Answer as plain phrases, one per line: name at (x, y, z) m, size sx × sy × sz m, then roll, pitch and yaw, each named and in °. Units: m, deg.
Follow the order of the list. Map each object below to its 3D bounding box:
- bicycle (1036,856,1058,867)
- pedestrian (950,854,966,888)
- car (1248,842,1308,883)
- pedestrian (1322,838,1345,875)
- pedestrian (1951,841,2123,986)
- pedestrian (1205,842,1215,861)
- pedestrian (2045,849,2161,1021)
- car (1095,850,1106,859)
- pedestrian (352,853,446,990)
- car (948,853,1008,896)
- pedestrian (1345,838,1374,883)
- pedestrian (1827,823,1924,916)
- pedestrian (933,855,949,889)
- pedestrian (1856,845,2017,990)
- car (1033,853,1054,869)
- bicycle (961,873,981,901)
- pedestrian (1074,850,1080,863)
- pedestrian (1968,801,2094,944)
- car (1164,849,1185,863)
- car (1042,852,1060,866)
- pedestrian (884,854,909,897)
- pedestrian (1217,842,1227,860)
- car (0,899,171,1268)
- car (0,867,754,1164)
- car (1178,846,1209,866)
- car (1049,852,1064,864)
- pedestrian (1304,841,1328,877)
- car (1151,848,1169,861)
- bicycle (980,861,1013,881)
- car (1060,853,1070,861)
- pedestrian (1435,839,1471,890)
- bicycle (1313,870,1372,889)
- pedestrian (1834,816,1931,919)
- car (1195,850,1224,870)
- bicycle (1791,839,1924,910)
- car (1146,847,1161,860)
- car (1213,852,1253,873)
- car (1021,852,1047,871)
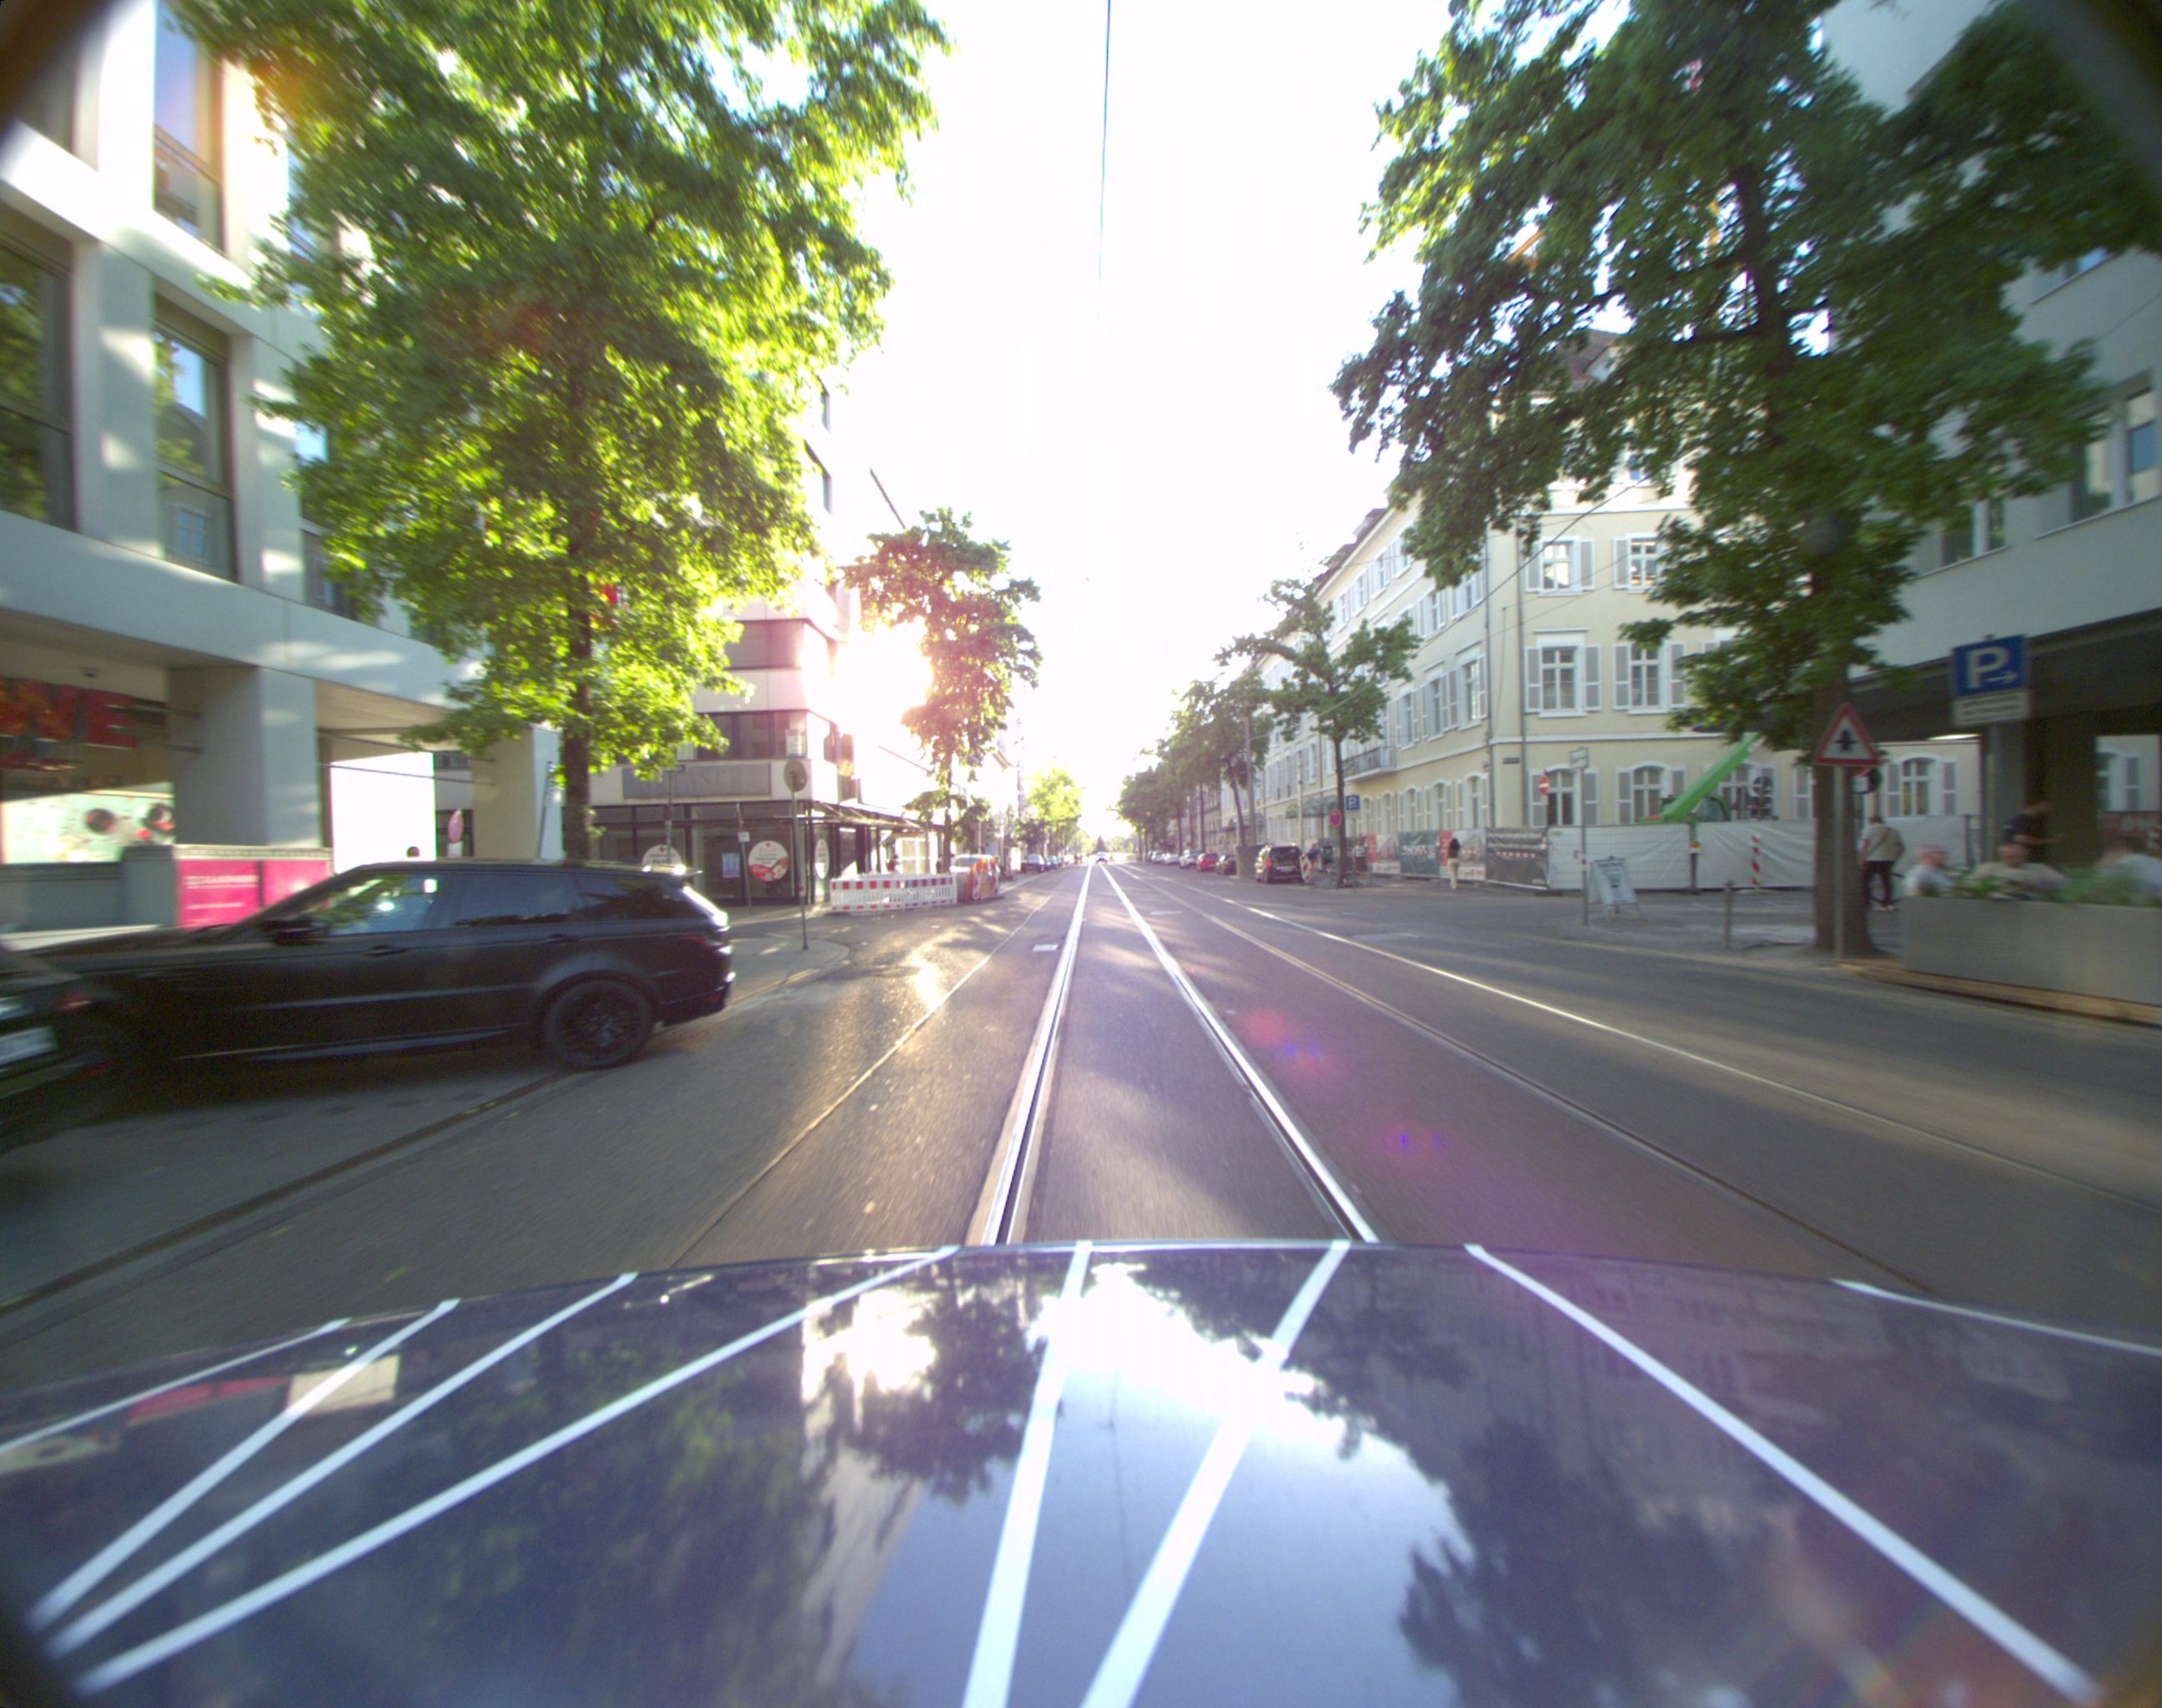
bicycle at (-3.811, 0.809, 84.964) m, size 2.325 × 1.181 × 0.751 m, roll -2°, pitch 1°, yaw 2°
pedestrian at (-6.761, 0.925, 41.887) m, size 0.707 × 1.820 × 0.635 m, roll -2°, pitch 1°, yaw 1°
car at (9.543, 0.365, 37.119) m, size 1.862 × 1.821 × 4.559 m, roll -3°, pitch 0°, yaw 3°
pedestrian at (12.851, 0.125, 38.681) m, size 0.721 × 1.802 × 0.876 m, roll -4°, pitch 1°, yaw 1°
pedestrian at (9.756, 0.581, 7.789) m, size 0.691 × 1.378 × 0.807 m, roll -3°, pitch 1°, yaw 2°
pedestrian at (12.123, -0.212, 71.445) m, size 0.746 × 1.732 × 0.933 m, roll -4°, pitch 1°, yaw 2°
pedestrian at (9.251, 0.668, 6.592) m, size 0.691 × 1.378 × 0.807 m, roll -3°, pitch 1°, yaw 2°
car at (3.449, 0.074, 131.811) m, size 1.827 × 1.603 × 3.796 m, roll -1°, pitch 0°, yaw 2°
pedestrian at (-9.622, 0.907, 10.736) m, size 0.754 × 1.808 × 0.804 m, roll 2°, pitch 2°, yaw 34°
car at (-4.526, 0.860, 34.171) m, size 2.028 × 1.727 × 4.906 m, roll 1°, pitch 0°, yaw 0°
pedestrian at (11.642, 0.267, 31.810) m, size 0.776 × 1.782 × 0.984 m, roll -4°, pitch 1°, yaw 3°
pedestrian at (14.460, 0.284, 13.847) m, size 0.798 × 1.605 × 0.865 m, roll -2°, pitch -1°, yaw -16°
pedestrian at (-7.705, 0.968, 41.762) m, size 0.690 × 1.820 × 0.635 m, roll -2°, pitch 1°, yaw 1°
pedestrian at (8.763, 0.617, 7.822) m, size 0.691 × 1.378 × 0.807 m, roll -3°, pitch 1°, yaw 2°
car at (-3.907, 0.700, 78.525) m, size 1.871 × 1.502 × 4.241 m, roll 1°, pitch 0°, yaw -7°
bicycle at (-4.264, 1.253, 29.523) m, size 0.494 × 0.976 × 1.930 m, roll -1°, pitch 0°, yaw -1°
pedestrian at (-0.538, 0.342, 105.760) m, size 0.705 × 1.858 × 0.792 m, roll -2°, pitch 1°, yaw -1°
pedestrian at (12.582, 0.243, 10.095) m, size 0.685 × 1.805 × 0.765 m, roll -3°, pitch 1°, yaw 16°
car at (10.739, 0.224, 87.568) m, size 1.897 × 1.458 × 4.617 m, roll -4°, pitch 0°, yaw 2°
car at (-3.447, 0.613, 88.266) m, size 1.770 × 1.502 × 4.287 m, roll -2°, pitch 0°, yaw 2°
pedestrian at (-8.254, 0.950, 33.980) m, size 0.835 × 1.886 × 0.918 m, roll 0°, pitch 1°, yaw 4°
pedestrian at (13.245, -0.278, 71.453) m, size 0.746 × 1.571 × 0.933 m, roll -4°, pitch 1°, yaw 1°
car at (-7.187, 1.075, 2.692) m, size 4.672 × 1.645 × 2.004 m, roll 1°, pitch 0°, yaw -23°
car at (-5.379, 1.022, 6.383) m, size 4.674 × 1.753 × 1.990 m, roll 1°, pitch 1°, yaw -28°
car at (10.207, 0.171, 69.214) m, size 1.870 × 1.679 × 4.950 m, roll -4°, pitch 0°, yaw -2°
car at (-3.370, 0.551, 105.457) m, size 1.798 × 1.502 × 3.986 m, roll 1°, pitch 0°, yaw 1°
pedestrian at (11.998, 0.247, 38.844) m, size 0.867 × 1.771 × 0.884 m, roll -4°, pitch 1°, yaw 1°
car at (11.140, 0.048, 106.951) m, size 1.952 × 1.731 × 4.765 m, roll -4°, pitch 0°, yaw 1°
bicycle at (-5.025, 1.026, 45.390) m, size 1.816 × 1.128 × 0.841 m, roll 0°, pitch 2°, yaw 9°
car at (-2.763, 0.499, 129.486) m, size 1.564 × 1.391 × 3.697 m, roll 1°, pitch 0°, yaw 1°
pedestrian at (12.287, 0.337, 25.140) m, size 0.709 × 1.646 × 0.967 m, roll -1°, pitch 0°, yaw 3°
bicycle at (9.802, 0.953, 28.580) m, size 1.799 × 0.605 × 1.282 m, roll -3°, pitch 0°, yaw 4°
pedestrian at (14.056, 0.238, 13.356) m, size 0.864 × 1.730 × 0.799 m, roll -2°, pitch 0°, yaw 20°
car at (10.007, 0.433, 59.433) m, size 1.664 × 1.397 × 4.141 m, roll -4°, pitch 0°, yaw 2°
bicycle at (15.972, 0.422, 15.667) m, size 1.878 × 1.371 × 0.713 m, roll -2°, pitch -2°, yaw 3°
car at (11.604, -0.089, 121.820) m, size 1.931 × 1.946 × 4.765 m, roll -1°, pitch 0°, yaw 1°
car at (10.082, 0.525, 50.654) m, size 1.722 × 1.238 × 4.507 m, roll -4°, pitch 0°, yaw 1°
car at (-4.306, 0.643, 70.676) m, size 1.985 × 1.679 × 4.873 m, roll 1°, pitch 0°, yaw 1°
